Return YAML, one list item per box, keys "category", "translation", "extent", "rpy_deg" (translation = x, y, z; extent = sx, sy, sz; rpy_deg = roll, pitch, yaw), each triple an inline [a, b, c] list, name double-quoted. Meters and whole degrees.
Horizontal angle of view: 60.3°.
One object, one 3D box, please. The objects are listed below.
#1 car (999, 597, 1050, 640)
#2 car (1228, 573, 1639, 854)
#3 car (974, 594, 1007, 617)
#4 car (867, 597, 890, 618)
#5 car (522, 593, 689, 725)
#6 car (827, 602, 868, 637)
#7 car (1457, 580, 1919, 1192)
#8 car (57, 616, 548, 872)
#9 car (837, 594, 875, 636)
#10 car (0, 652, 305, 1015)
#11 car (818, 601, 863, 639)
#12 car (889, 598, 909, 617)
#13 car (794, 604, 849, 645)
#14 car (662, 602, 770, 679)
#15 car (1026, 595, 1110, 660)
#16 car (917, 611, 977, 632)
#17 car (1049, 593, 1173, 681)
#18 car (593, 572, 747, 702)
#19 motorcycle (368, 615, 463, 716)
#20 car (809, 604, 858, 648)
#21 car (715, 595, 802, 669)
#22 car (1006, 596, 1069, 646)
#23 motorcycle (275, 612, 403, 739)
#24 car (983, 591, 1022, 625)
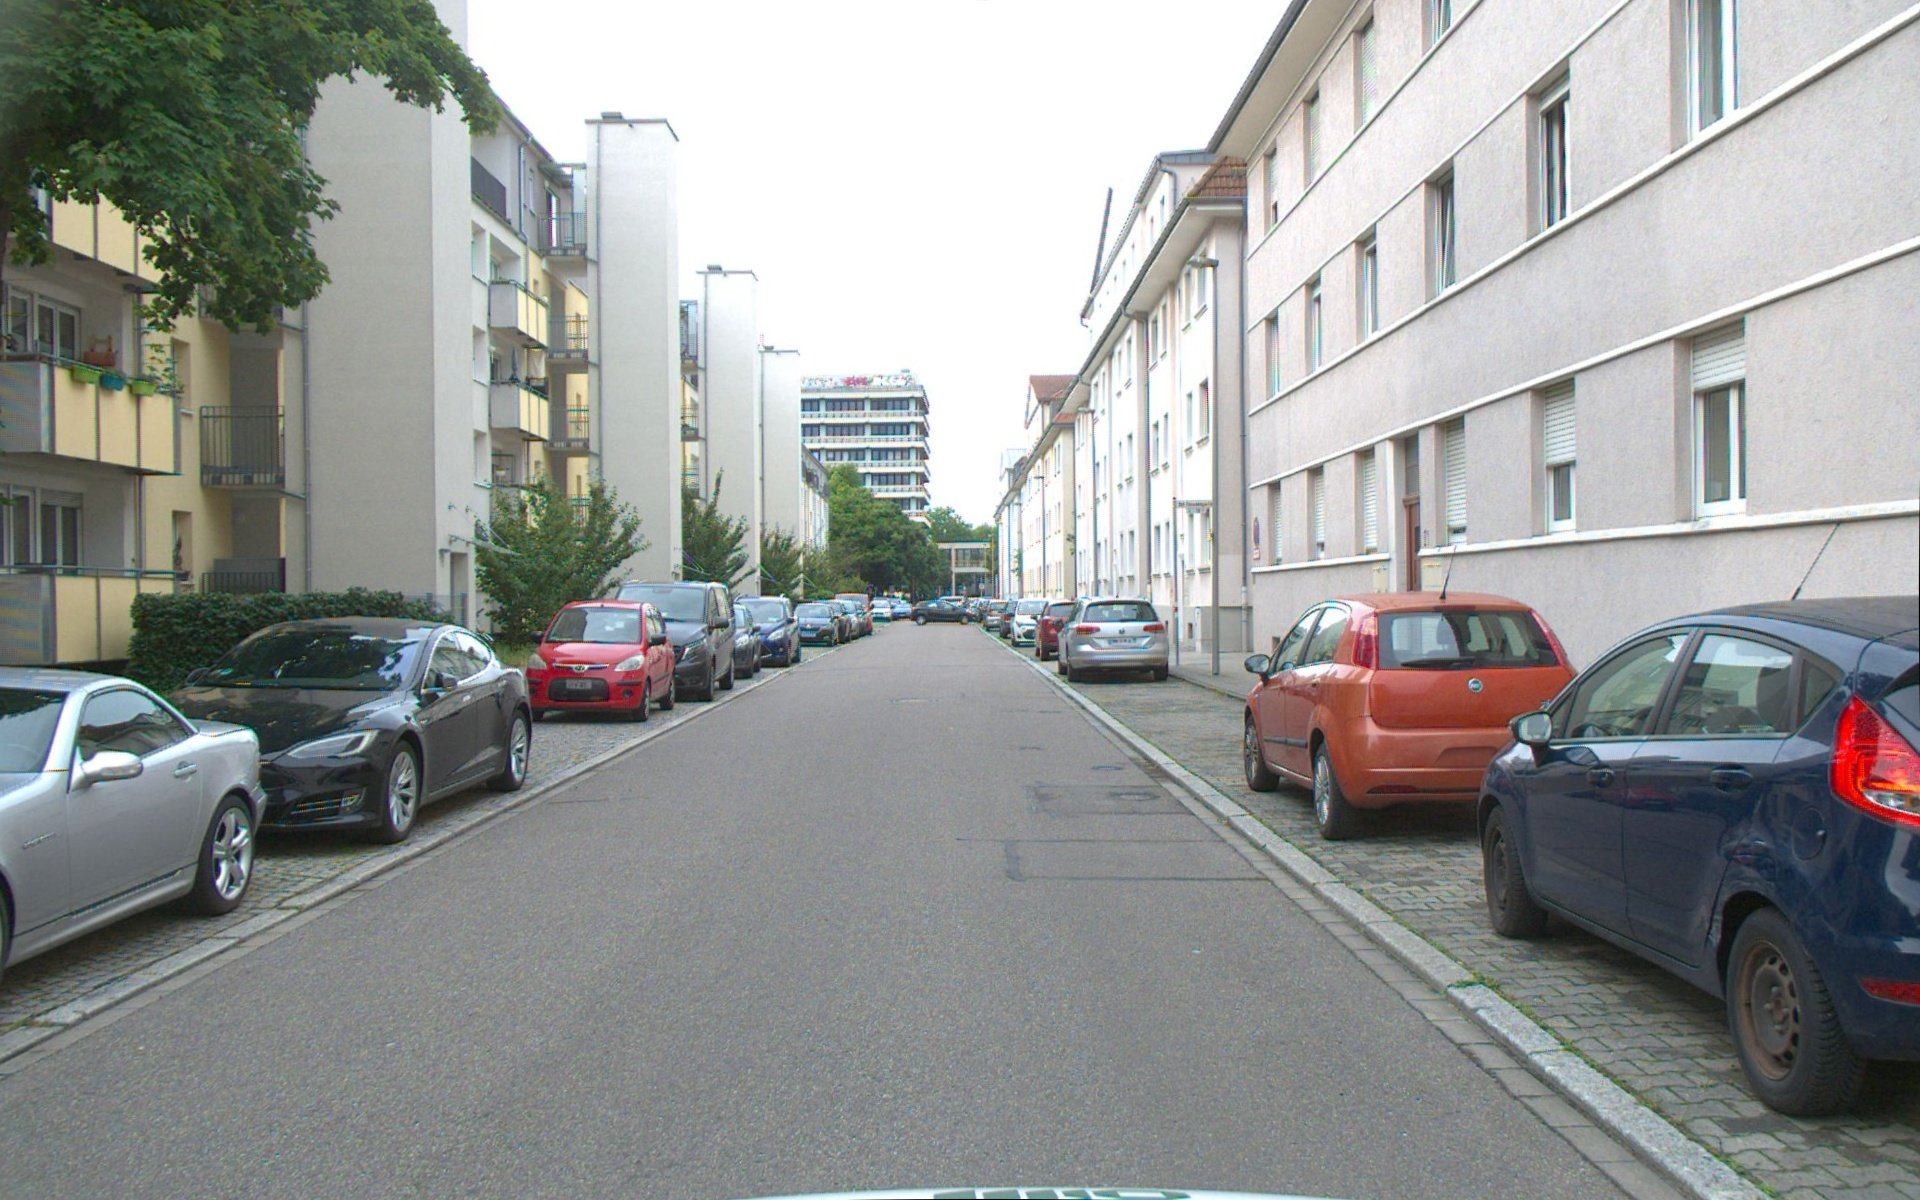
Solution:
- category: "car"
  translation: [2.483, 0.705, 64.579]
  extent: [1.782, 1.604, 3.752]
  rpy_deg: [0, 0, -1]
- category: "car"
  translation: [3.020, 0.640, 11.372]
  extent: [1.662, 1.552, 3.825]
  rpy_deg: [-2, 0, 0]
- category: "car"
  translation: [1.970, 0.347, 108.483]
  extent: [1.953, 1.422, 3.999]
  rpy_deg: [2, 0, -1]
- category: "car"
  translation: [-5.951, 0.532, 120.930]
  extent: [1.507, 1.476, 3.741]
  rpy_deg: [0, 0, -1]
- category: "car"
  translation: [-4.752, 0.732, 22.579]
  extent: [1.532, 1.596, 3.641]
  rpy_deg: [2, 0, -2]
- category: "car"
  translation: [-5.078, 0.855, 74.747]
  extent: [1.637, 1.513, 3.741]
  rpy_deg: [0, 0, -1]
- category: "car"
  translation: [3.120, 0.695, 5.968]
  extent: [1.535, 1.499, 3.696]
  rpy_deg: [-2, 0, 0]
- category: "car"
  translation: [-4.543, 0.894, 12.300]
  extent: [1.804, 1.446, 4.629]
  rpy_deg: [1, 0, 0]
- category: "car"
  translation: [-5.031, 0.692, 80.066]
  extent: [1.637, 1.972, 3.741]
  rpy_deg: [0, 0, -1]
- category: "car"
  translation: [-4.583, 0.965, 7.456]
  extent: [1.662, 1.280, 4.015]
  rpy_deg: [1, 0, 0]
- category: "car"
  translation: [-5.009, 0.811, 69.809]
  extent: [1.637, 1.552, 4.252]
  rpy_deg: [0, 0, -1]
- category: "car"
  translation: [-4.830, 0.592, 131.619]
  extent: [1.508, 1.476, 3.739]
  rpy_deg: [-1, 0, -3]
- category: "car"
  translation: [-4.828, 0.829, 57.924]
  extent: [1.637, 1.375, 3.816]
  rpy_deg: [0, 0, -1]
- category: "car"
  translation: [-5.044, 0.799, 34.641]
  extent: [1.793, 1.484, 4.258]
  rpy_deg: [0, 0, -2]
- category: "car"
  translation: [2.611, 0.630, 40.712]
  extent: [1.636, 1.445, 3.999]
  rpy_deg: [-2, 0, -2]
- category: "car"
  translation: [-0.779, 1.309, 100.301]
  extent: [3.652, 1.235, 1.544]
  rpy_deg: [0, 0, 0]
- category: "car"
  translation: [2.691, 0.622, 30.361]
  extent: [1.720, 1.493, 4.599]
  rpy_deg: [0, 0, -2]
- category: "car"
  translation: [-4.741, 0.551, 27.725]
  extent: [1.841, 1.937, 5.028]
  rpy_deg: [2, 0, -3]
- category: "motorcycle"
  translation: [-7.311, 0.852, 22.292]
  extent: [0.623, 1.252, 1.833]
  rpy_deg: [3, 0, -1]
- category: "car"
  translation: [-4.803, 0.968, 63.381]
  extent: [1.637, 1.591, 3.663]
  rpy_deg: [0, 0, -1]
- category: "car"
  translation: [-4.832, 0.728, 40.167]
  extent: [1.734, 1.672, 4.353]
  rpy_deg: [0, 0, -2]
- category: "car"
  translation: [2.438, 0.642, 52.782]
  extent: [1.782, 1.531, 3.752]
  rpy_deg: [0, 0, -1]
- category: "motorcycle"
  translation: [-7.356, 0.855, 19.703]
  extent: [0.663, 1.379, 2.229]
  rpy_deg: [2, 0, -1]
- category: "car"
  translation: [2.058, 0.368, 81.286]
  extent: [1.782, 1.604, 3.883]
  rpy_deg: [0, 0, -1]
